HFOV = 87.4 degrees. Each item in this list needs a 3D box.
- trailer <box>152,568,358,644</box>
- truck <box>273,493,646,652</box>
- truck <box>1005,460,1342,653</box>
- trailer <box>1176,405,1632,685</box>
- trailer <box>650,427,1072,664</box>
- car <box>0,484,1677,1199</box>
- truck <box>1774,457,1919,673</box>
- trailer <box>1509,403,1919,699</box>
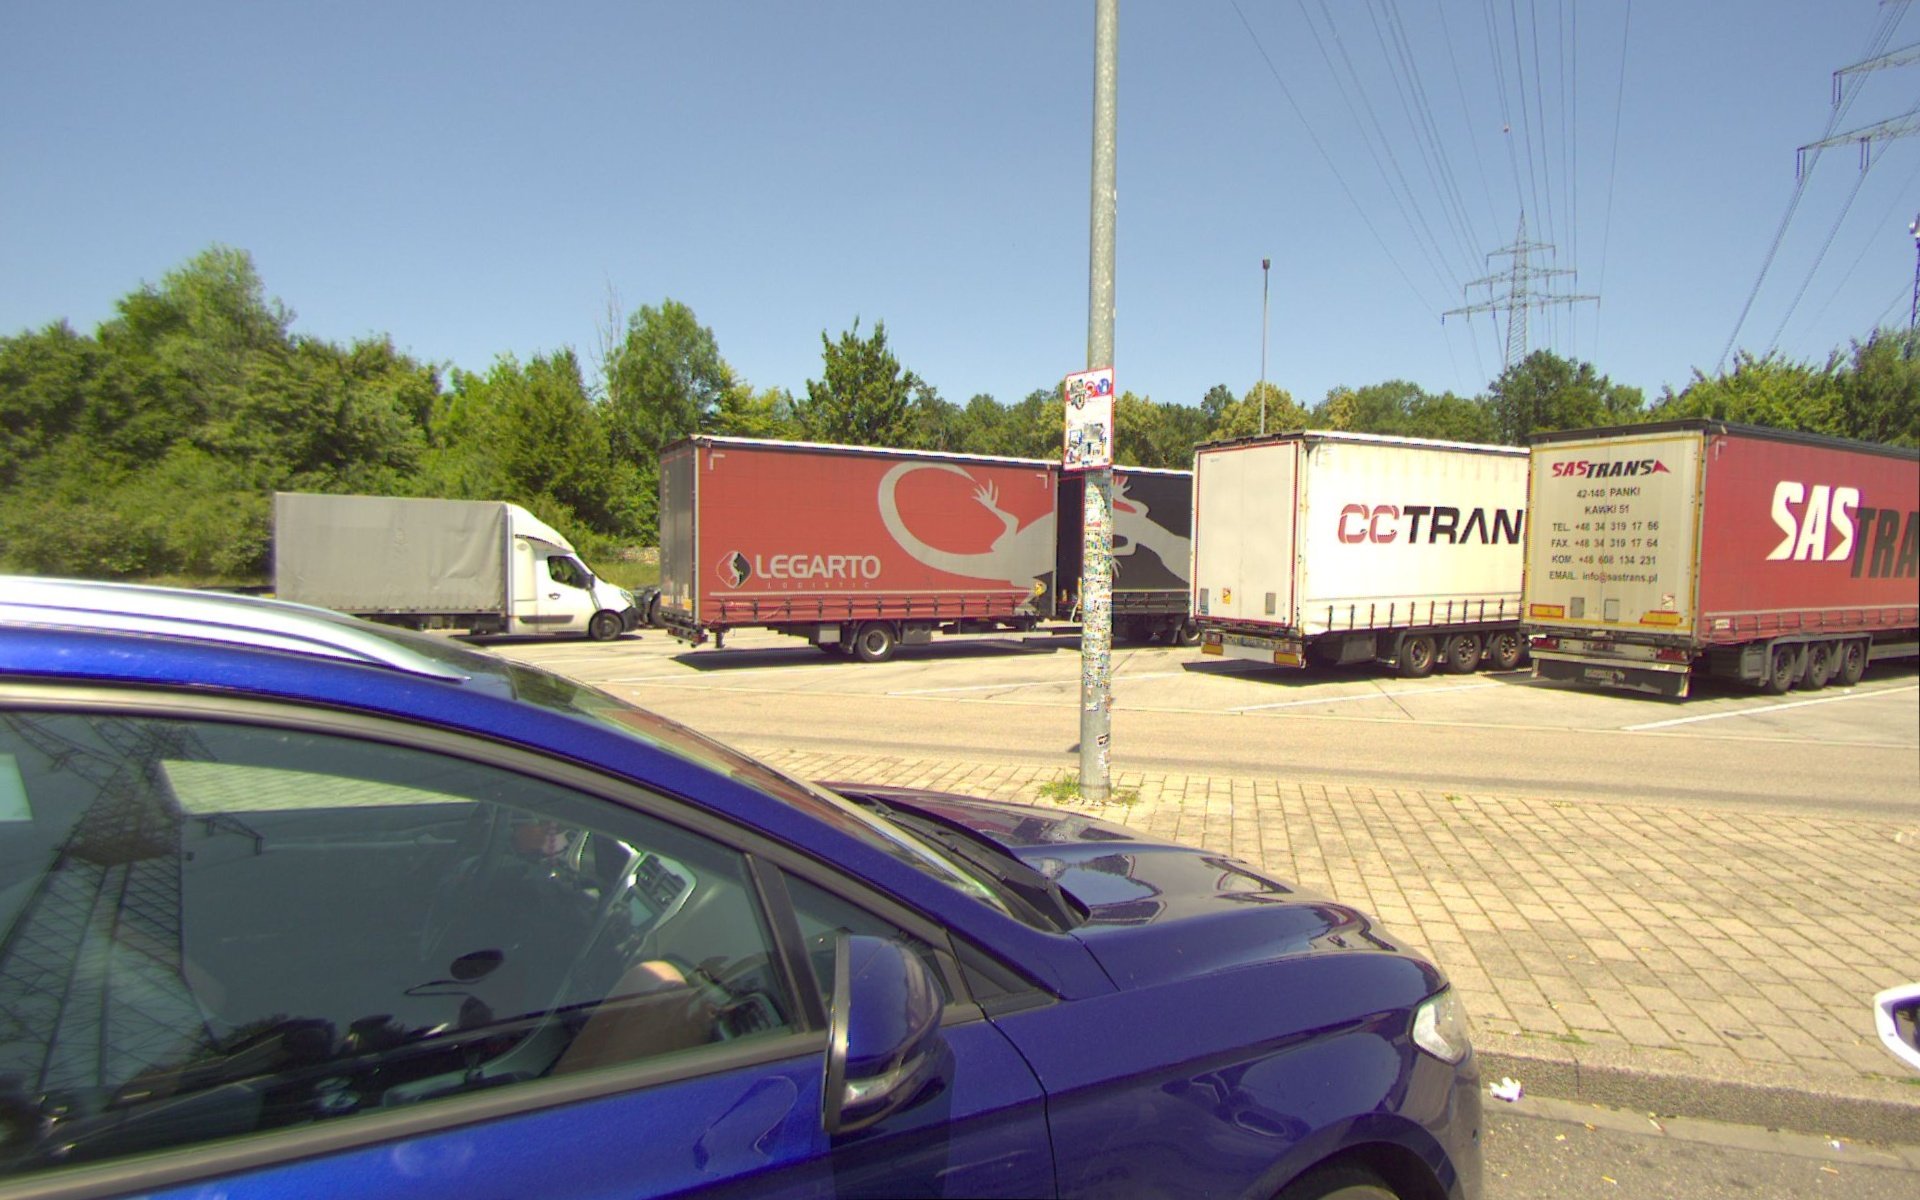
[{"bbox_3d":[-16.523,0.140,23.776,3.856,1.684,1.464,0,1,-30],"label":"trailer"},{"bbox_3d":[-11.137,-0.567,22.917,7.265,3.170,2.352,0,1,-30],"label":"truck"},{"bbox_3d":[5.389,-0.913,24.573,8.534,4.073,2.624,0,1,-30],"label":"truck"},{"bbox_3d":[8.700,-0.832,19.098,9.614,4.321,2.733,0,1,-29],"label":"trailer"},{"bbox_3d":[-1.802,-0.922,20.300,8.158,4.027,2.651,0,1,-31],"label":"trailer"},{"bbox_3d":[-1.020,0.652,1.455,4.419,1.485,1.765,0,1,-32],"label":"car"},{"bbox_3d":[20.807,-0.674,21.763,6.749,4.136,2.729,0,1,-31],"label":"truck"},{"bbox_3d":[15.291,-0.671,18.500,13.129,4.112,2.736,0,1,-31],"label":"trailer"}]
